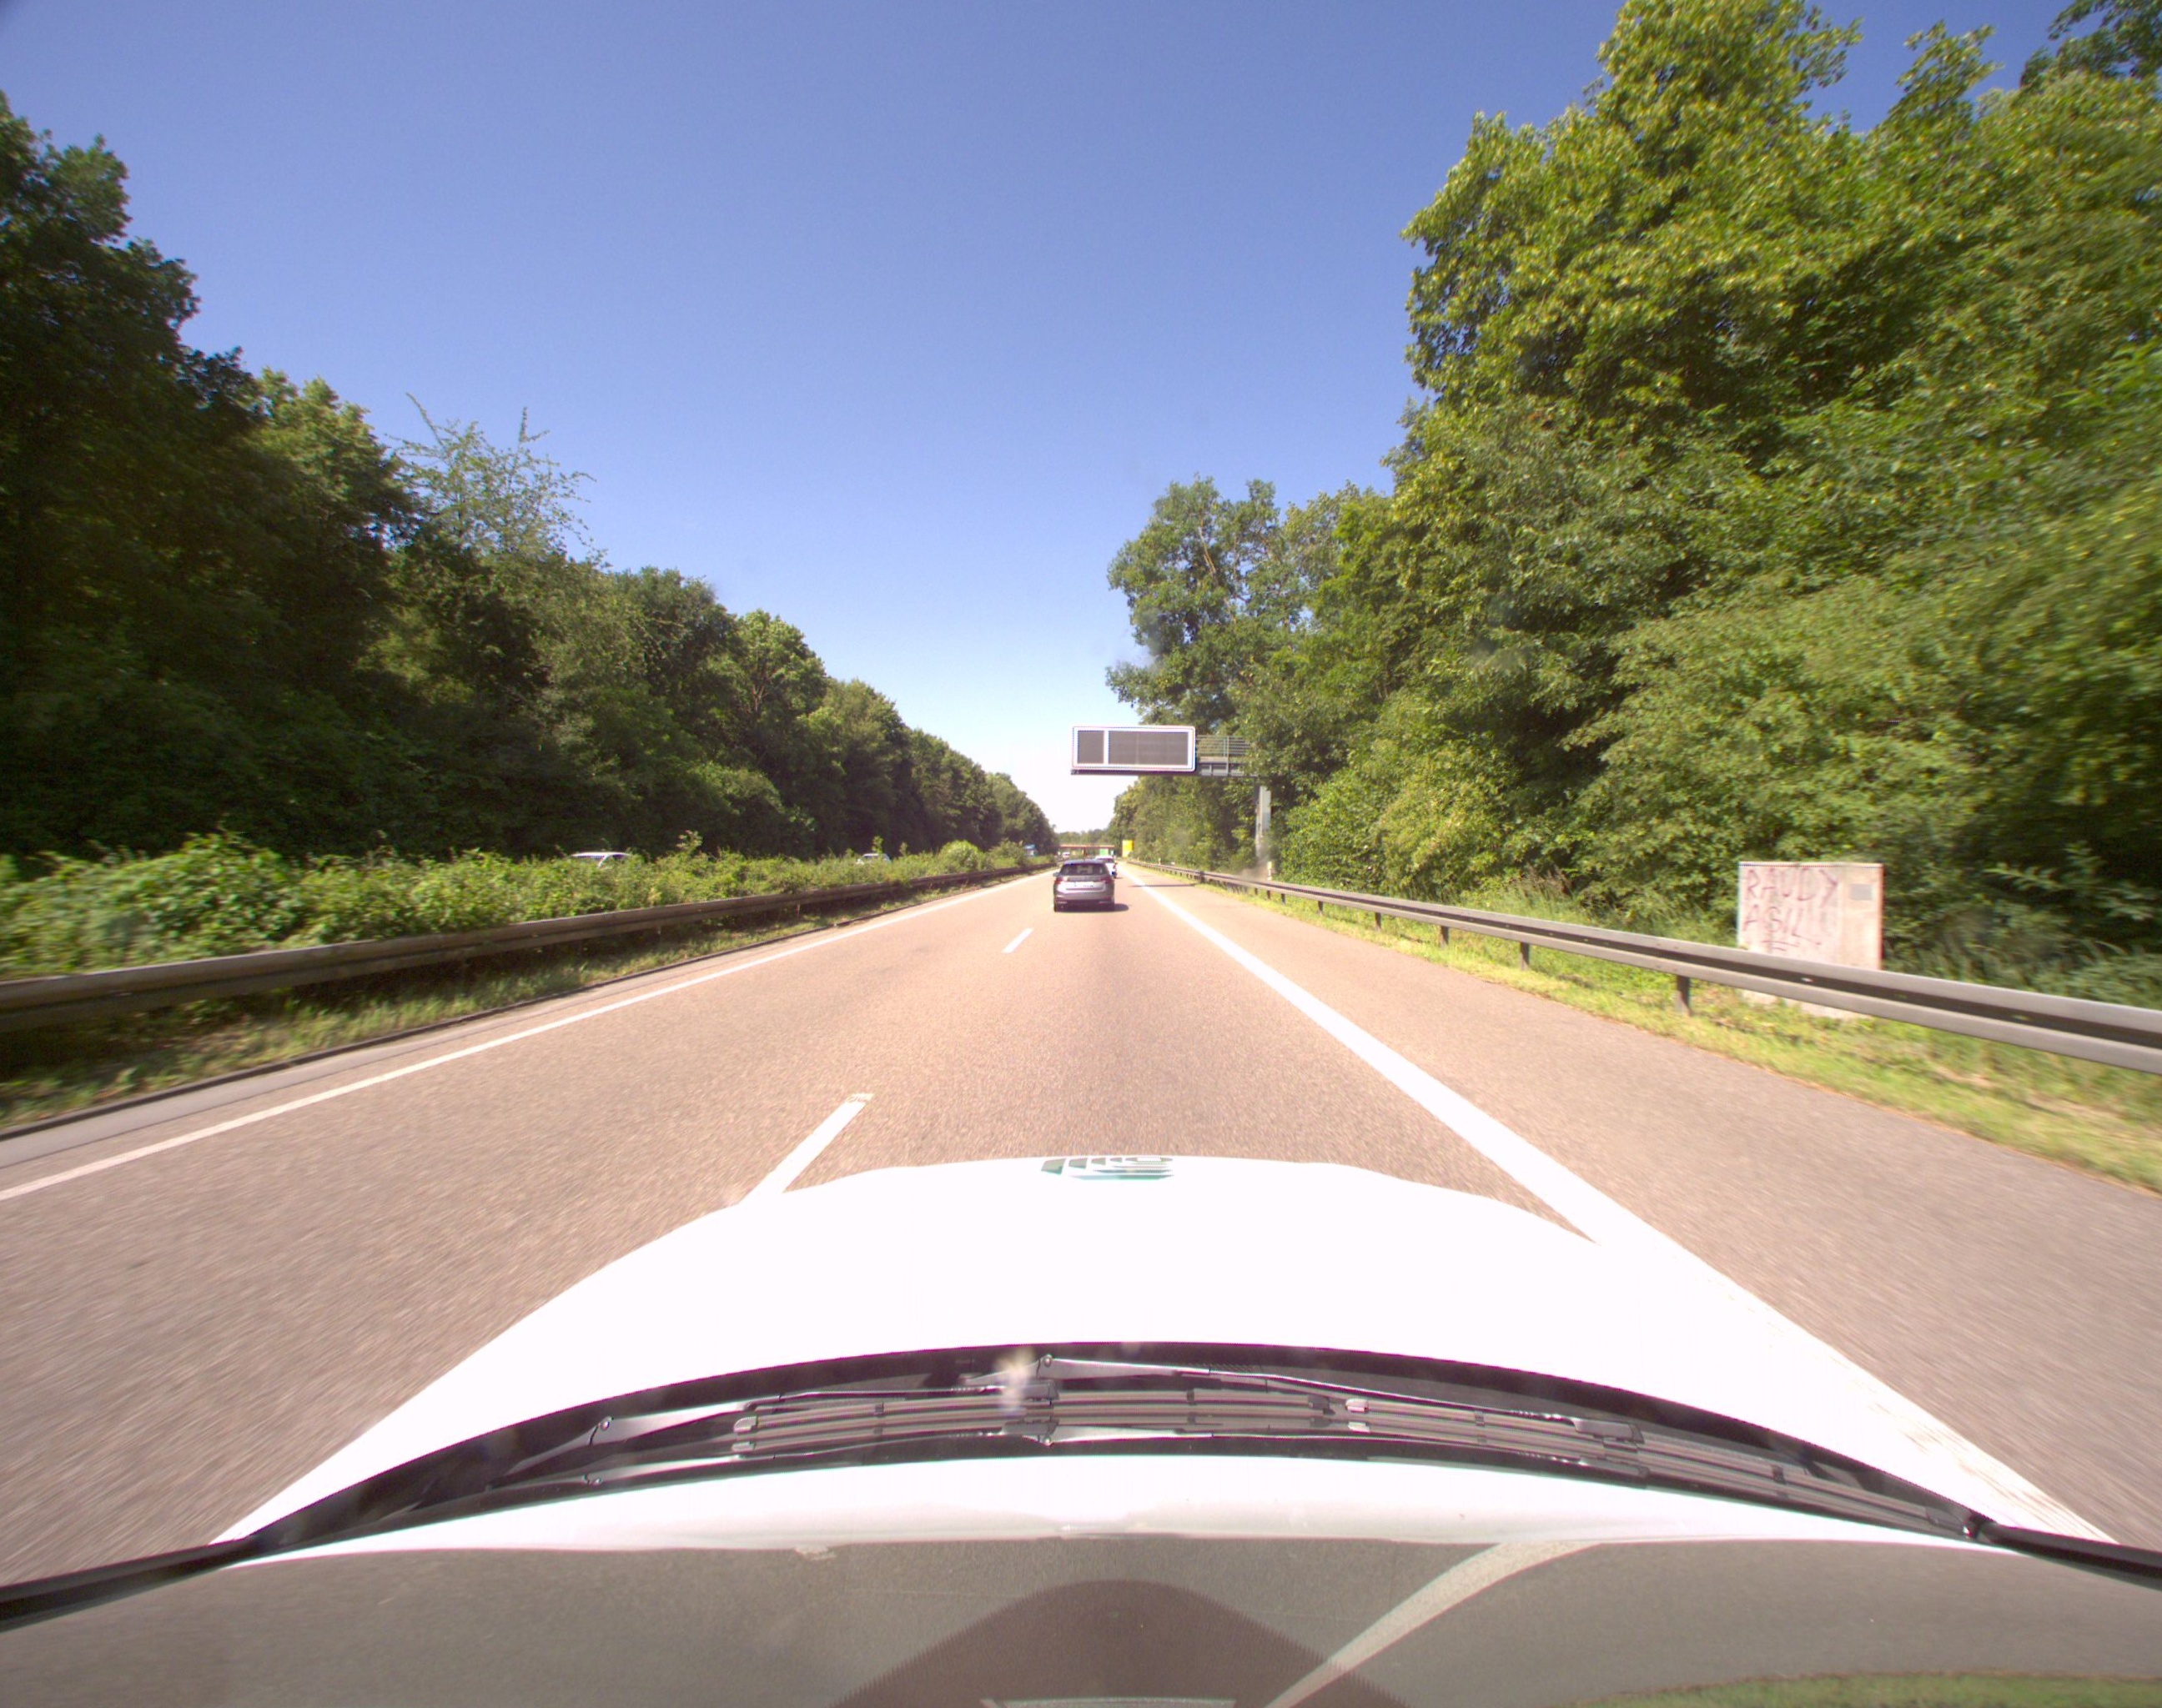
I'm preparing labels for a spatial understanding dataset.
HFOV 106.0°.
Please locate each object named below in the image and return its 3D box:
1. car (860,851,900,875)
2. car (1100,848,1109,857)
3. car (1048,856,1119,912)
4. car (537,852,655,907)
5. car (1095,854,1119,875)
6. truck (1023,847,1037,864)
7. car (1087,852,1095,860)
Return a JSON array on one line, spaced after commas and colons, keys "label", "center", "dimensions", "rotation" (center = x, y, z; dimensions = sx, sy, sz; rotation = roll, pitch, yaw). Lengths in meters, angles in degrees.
[{"label": "car", "center": [-14.033, 0.624, 57.014], "dimensions": [1.687, 1.662, 4.000], "rotation": [0, -1, 1]}, {"label": "car", "center": [7.049, -0.573, 244.936], "dimensions": [2.738, 2.654, 4.001], "rotation": [0, -1, 2]}, {"label": "car", "center": [0.146, 0.801, 23.500], "dimensions": [1.832, 1.472, 3.626], "rotation": [0, 0, 3]}, {"label": "car", "center": [-14.777, 0.742, 25.003], "dimensions": [1.543, 1.566, 3.385], "rotation": [0, -1, 1]}, {"label": "car", "center": [1.791, 0.696, 55.954], "dimensions": [1.516, 1.446, 3.343], "rotation": [0, 0, 3]}, {"label": "truck", "center": [-10.931, 0.329, 173.785], "dimensions": [2.636, 3.706, 4.002], "rotation": [0, -1, 2]}, {"label": "car", "center": [2.786, 0.576, 220.785], "dimensions": [1.986, 2.014, 4.001], "rotation": [0, -1, 2]}]
